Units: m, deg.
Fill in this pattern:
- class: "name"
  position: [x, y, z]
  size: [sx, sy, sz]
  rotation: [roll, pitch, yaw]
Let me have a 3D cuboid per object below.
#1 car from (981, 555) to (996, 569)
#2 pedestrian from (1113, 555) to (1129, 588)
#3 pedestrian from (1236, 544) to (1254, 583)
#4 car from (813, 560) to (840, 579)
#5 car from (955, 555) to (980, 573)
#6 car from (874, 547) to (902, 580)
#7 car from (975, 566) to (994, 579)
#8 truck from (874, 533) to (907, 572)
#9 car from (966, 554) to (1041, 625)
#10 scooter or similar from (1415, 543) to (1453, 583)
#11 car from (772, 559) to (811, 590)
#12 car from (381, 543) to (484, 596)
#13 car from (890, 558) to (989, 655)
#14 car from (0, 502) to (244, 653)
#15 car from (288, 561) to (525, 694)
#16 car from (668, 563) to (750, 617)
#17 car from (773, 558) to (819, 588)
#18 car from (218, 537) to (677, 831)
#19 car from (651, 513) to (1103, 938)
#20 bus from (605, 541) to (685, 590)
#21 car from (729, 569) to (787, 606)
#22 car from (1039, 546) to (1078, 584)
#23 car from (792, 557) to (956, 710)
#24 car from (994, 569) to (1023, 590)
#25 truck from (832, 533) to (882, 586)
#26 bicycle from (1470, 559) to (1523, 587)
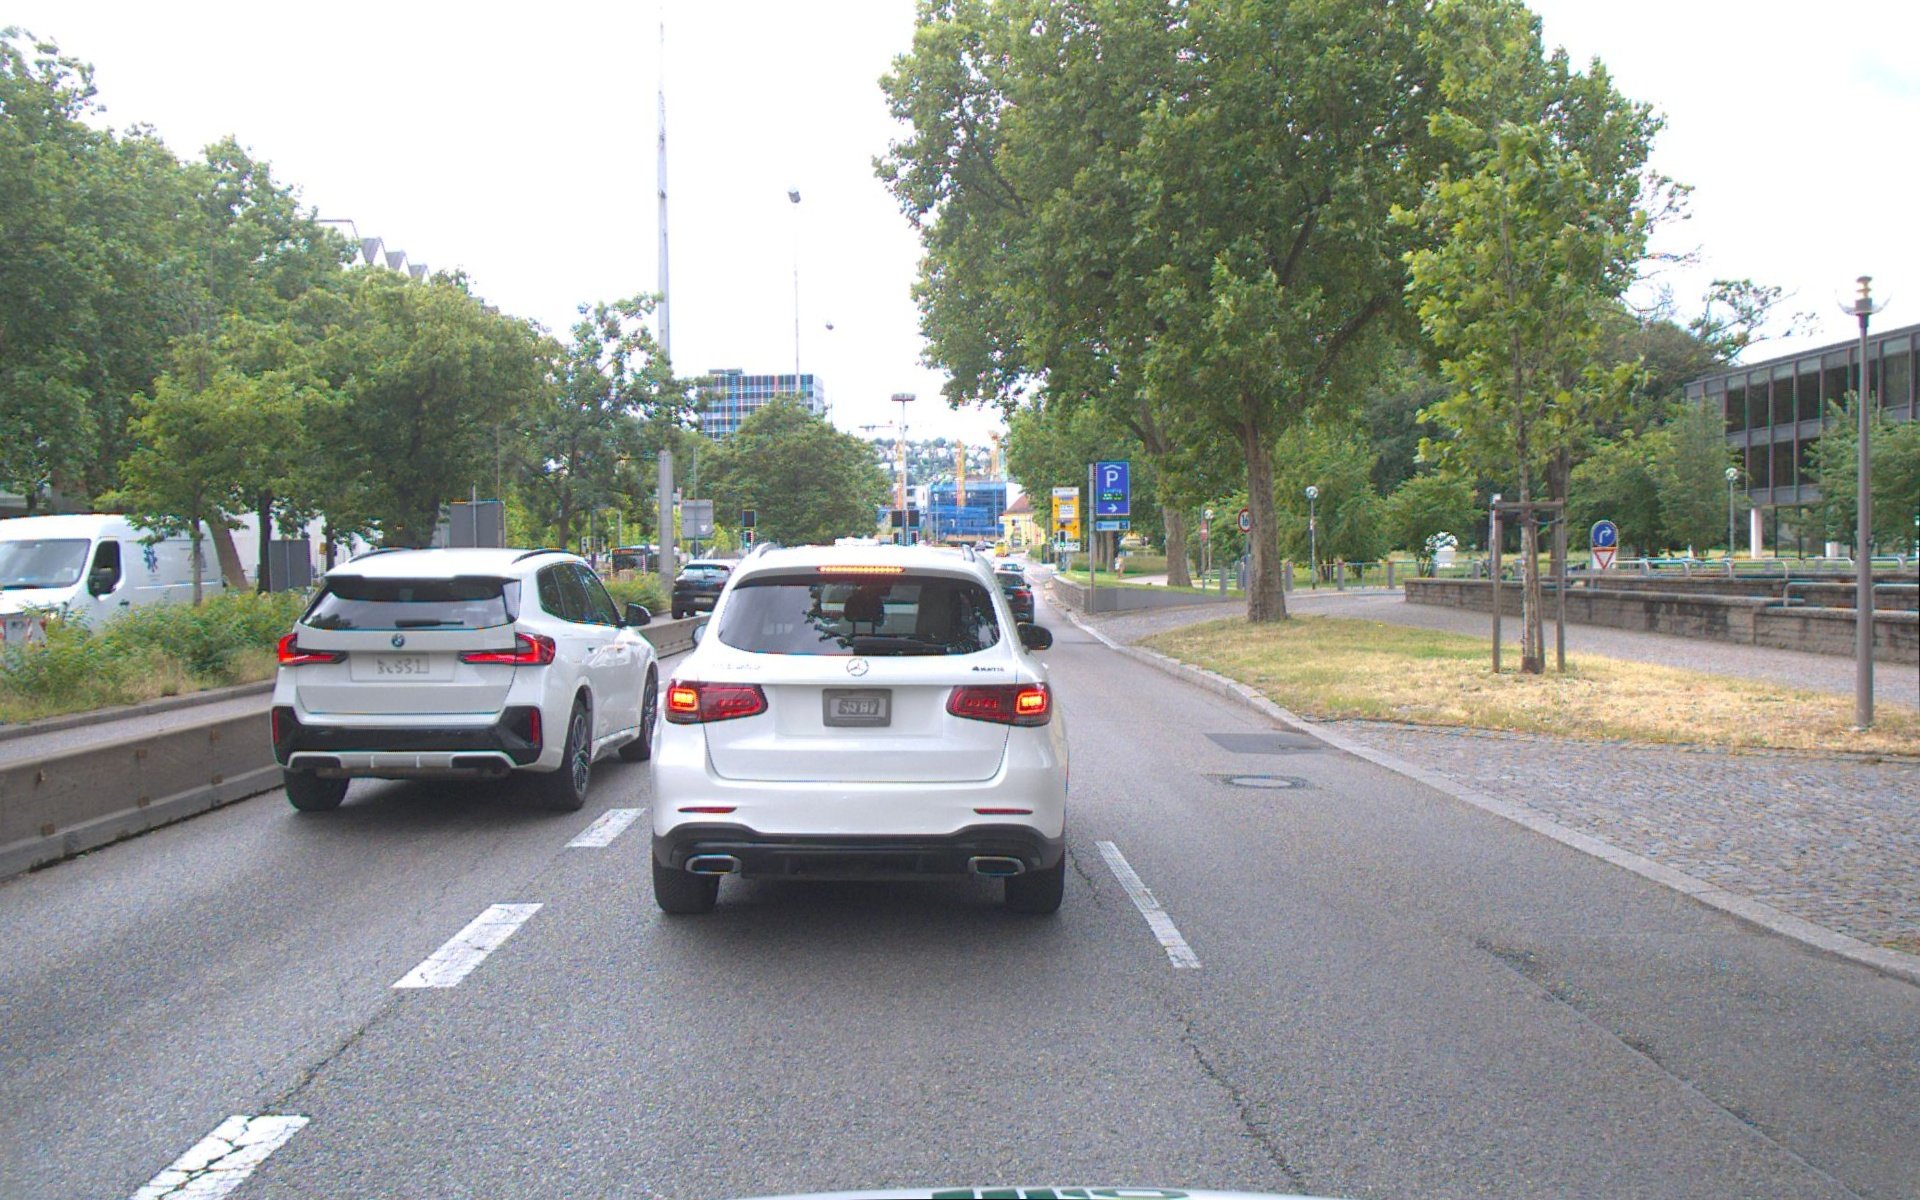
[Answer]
- class: "car"
  position: [3.483, -4.765, 205.257]
  size: [1.723, 1.698, 4.168]
  rotation: [-1, 1, -1]
- class: "pedestrian"
  position: [10.052, -1.808, 103.394]
  size: [0.746, 2.048, 0.696]
  rotation: [0, 1, 35]
- class: "pedestrian"
  position: [13.049, -1.661, 75.694]
  size: [0.743, 1.755, 0.699]
  rotation: [-1, 1, 7]
- class: "car"
  position: [-9.541, -2.205, 118.580]
  size: [1.625, 1.342, 3.547]
  rotation: [0, 1, 0]
- class: "car"
  position: [0.577, -2.830, 131.095]
  size: [1.907, 1.342, 4.017]
  rotation: [0, 1, 0]
- class: "car"
  position: [-5.569, -2.807, 128.358]
  size: [1.953, 2.518, 4.000]
  rotation: [-1, 1, -1]
- class: "car"
  position: [2.469, -2.811, 167.884]
  size: [1.907, 1.342, 4.017]
  rotation: [0, 1, 0]
- class: "truck"
  position: [-5.644, -3.833, 134.983]
  size: [2.637, 3.044, 5.636]
  rotation: [1, 0, -2]
- class: "car"
  position: [1.112, -0.317, 44.242]
  size: [1.788, 1.783, 3.999]
  rotation: [-1, 1, -1]
- class: "scooter or similar"
  position: [15.485, -1.184, 54.032]
  size: [0.622, 1.267, 2.226]
  rotation: [1, 0, 1]
- class: "car"
  position: [-8.657, -1.337, 85.093]
  size: [1.625, 1.539, 3.547]
  rotation: [-1, 1, 0]
- class: "car"
  position: [-15.164, -0.887, 47.740]
  size: [1.740, 1.444, 4.000]
  rotation: [-1, 1, -1]
- class: "car"
  position: [-0.421, 0.092, 30.200]
  size: [1.626, 1.667, 3.545]
  rotation: [0, 1, -4]
- class: "car"
  position: [-13.013, -0.348, 24.908]
  size: [2.072, 2.003, 5.578]
  rotation: [-1, 1, -1]
- class: "car"
  position: [-6.583, 0.280, 20.085]
  size: [1.628, 1.461, 3.959]
  rotation: [0, 1, -1]
- class: "car"
  position: [-7.016, -0.318, 46.594]
  size: [1.740, 1.444, 4.000]
  rotation: [-1, 1, -1]
- class: "car"
  position: [-7.544, -1.222, 76.204]
  size: [1.625, 1.342, 3.548]
  rotation: [0, 1, 2]
- class: "car"
  position: [-3.310, 0.448, 11.793]
  size: [1.814, 1.656, 4.906]
  rotation: [0, 1, -1]
- class: "car"
  position: [-0.368, 0.480, 8.684]
  size: [1.752, 1.653, 4.436]
  rotation: [0, 0, -1]
- class: "bus"
  position: [-22.731, -2.515, 120.266]
  size: [3.594, 3.261, 14.268]
  rotation: [-1, 1, -3]
- class: "car"
  position: [-7.570, -0.477, 62.144]
  size: [1.625, 1.342, 3.548]
  rotation: [0, 1, 2]
- class: "car"
  position: [5.479, -1.949, 92.449]
  size: [1.953, 2.049, 4.000]
  rotation: [0, 1, 0]
- class: "car"
  position: [-1.098, 0.328, 19.682]
  size: [1.761, 1.636, 3.751]
  rotation: [0, 1, -6]
- class: "car"
  position: [3.441, -1.457, 117.616]
  size: [1.907, 1.453, 4.017]
  rotation: [0, 1, 0]
- class: "truck"
  position: [-5.887, -2.325, 95.386]
  size: [2.568, 2.911, 7.077]
  rotation: [1, 1, -1]
- class: "bicycle"
  position: [19.666, -0.982, 60.689]
  size: [0.934, 0.992, 2.786]
  rotation: [1, 1, -1]
